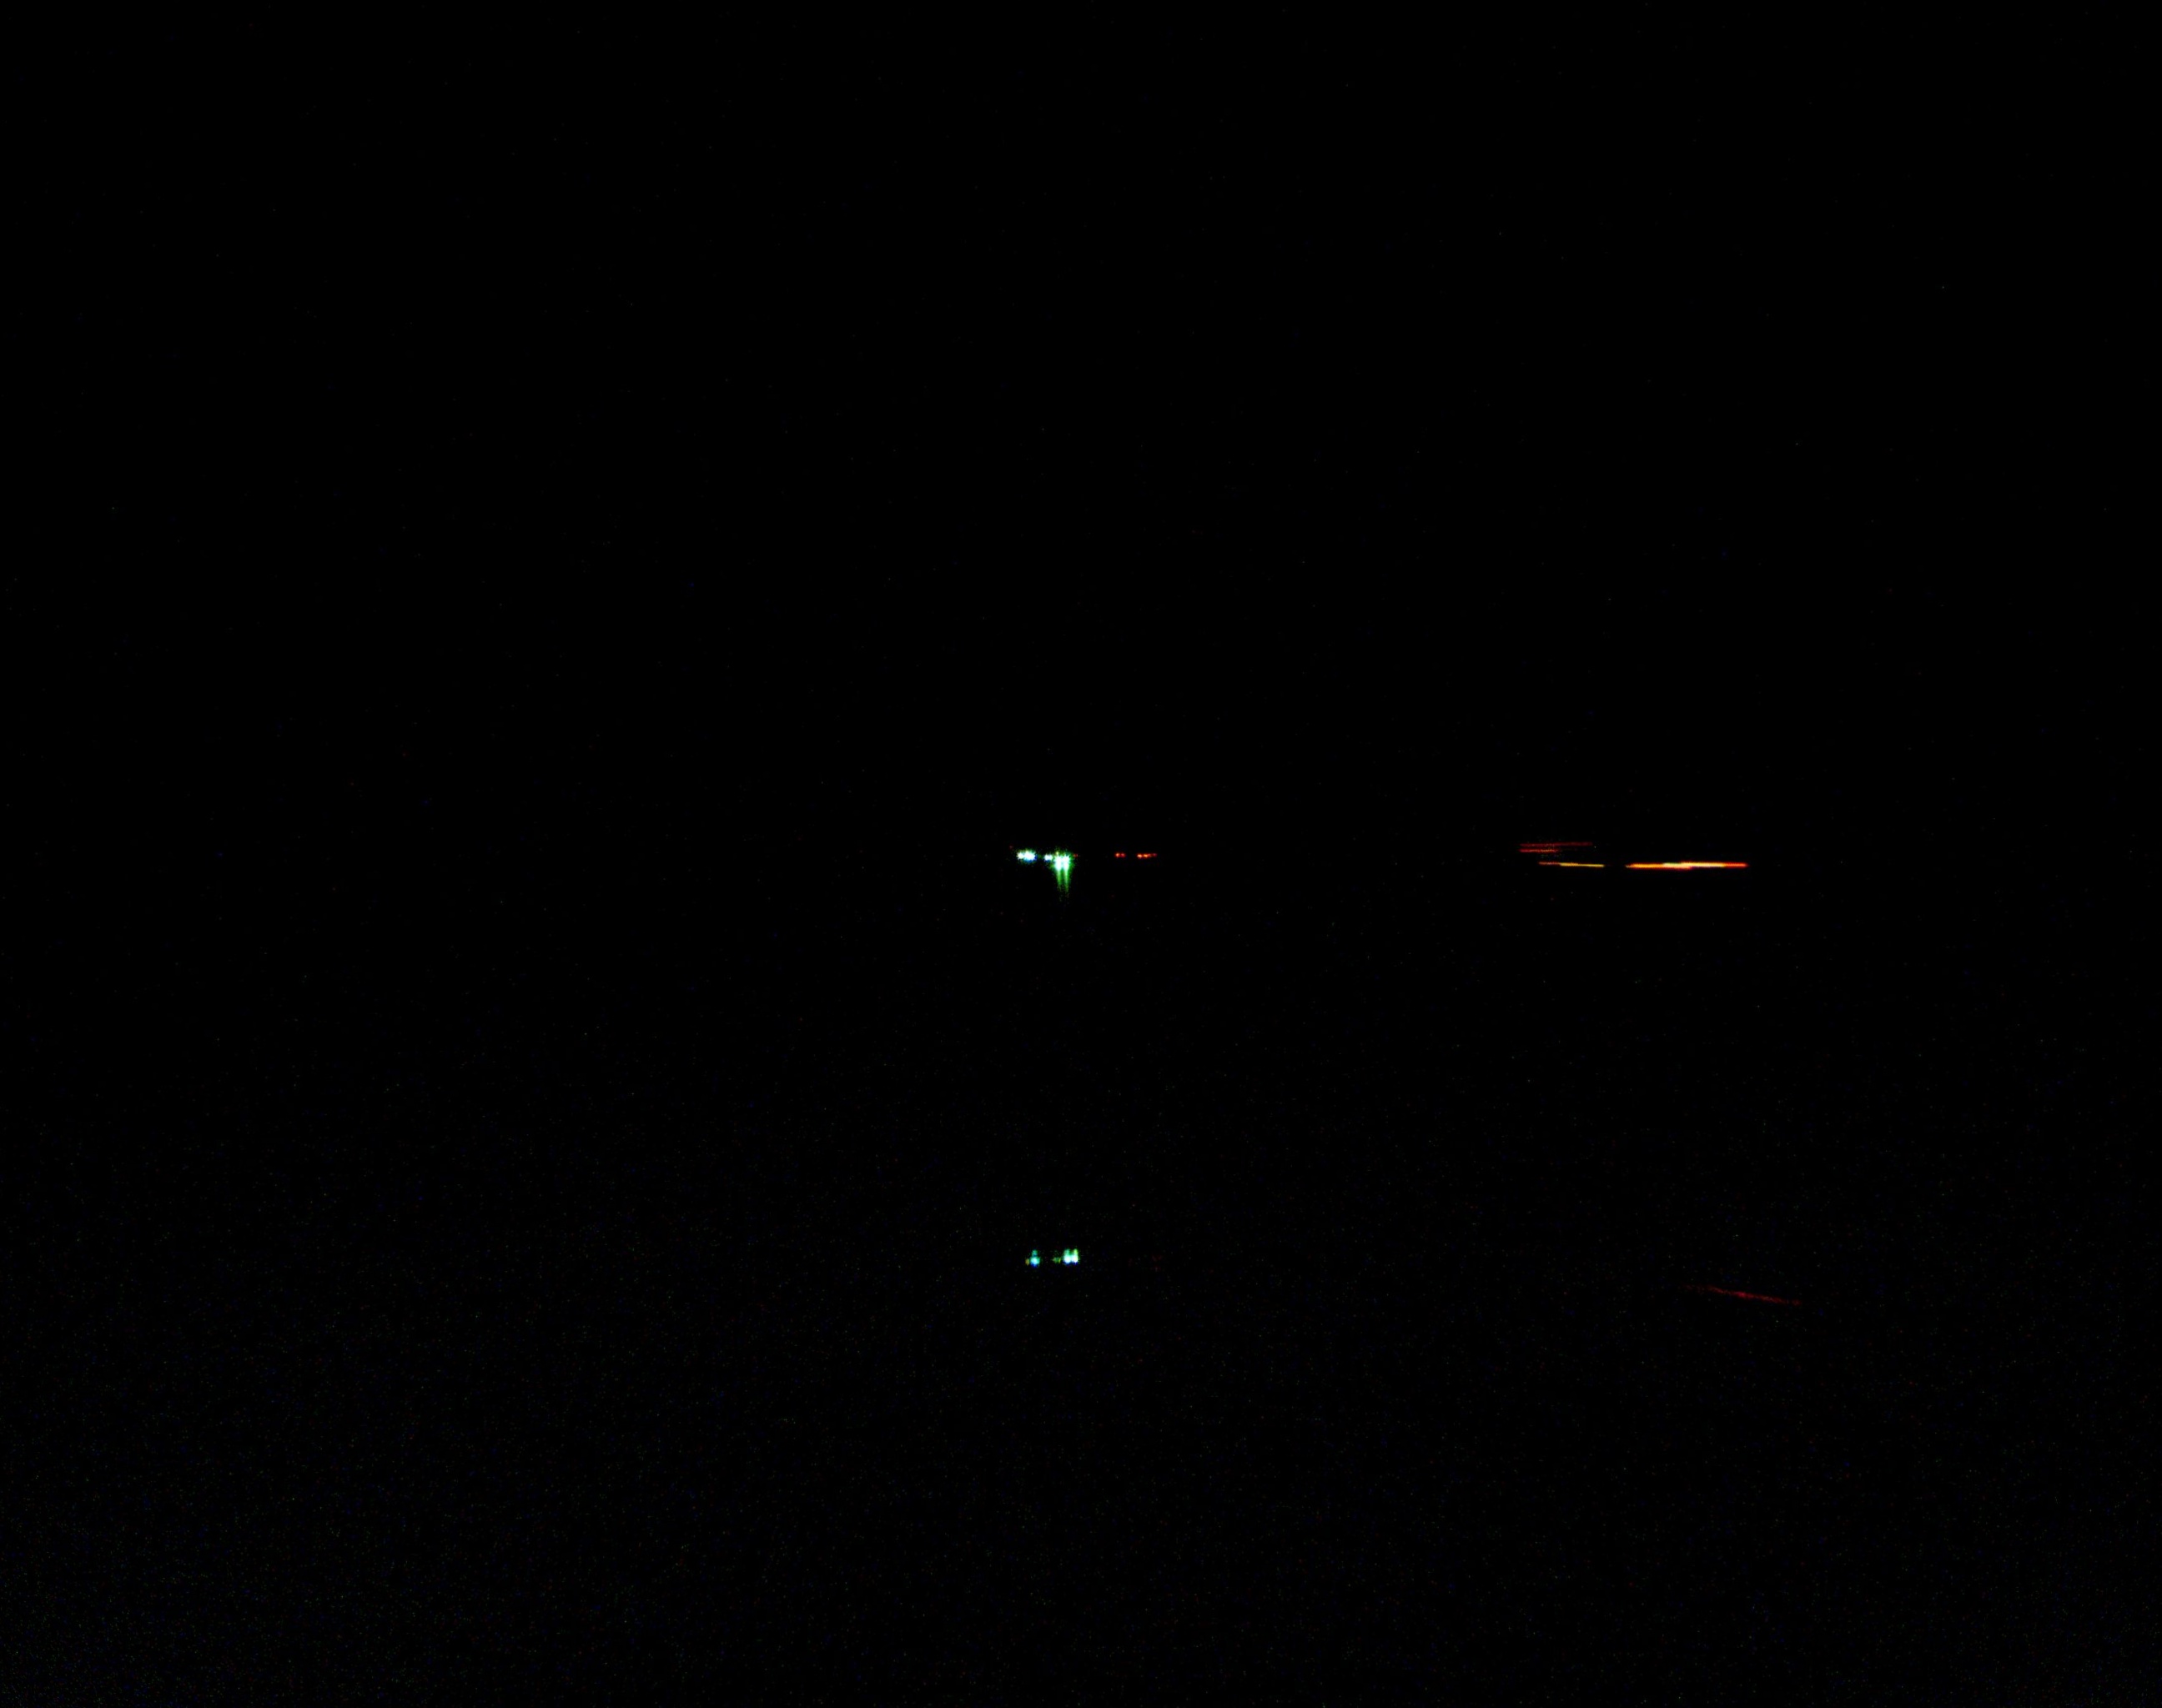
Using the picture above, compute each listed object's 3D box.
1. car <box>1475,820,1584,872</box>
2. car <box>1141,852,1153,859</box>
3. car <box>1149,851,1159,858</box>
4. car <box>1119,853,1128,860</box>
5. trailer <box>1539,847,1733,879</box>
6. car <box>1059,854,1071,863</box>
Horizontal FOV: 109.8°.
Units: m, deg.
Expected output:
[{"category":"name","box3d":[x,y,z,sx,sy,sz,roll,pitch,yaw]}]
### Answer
[{"category":"car","box3d":[23.332,-0.418,39.911,2.087,2.473,6.241,-2,1,0]},{"category":"car","box3d":[14.624,0.236,168.896,1.999,1.471,4.928,-2,1,-3]},{"category":"car","box3d":[17.804,0.048,185.380,1.999,1.499,4.400,-2,1,-1]},{"category":"car","box3d":[11.741,0.576,210.067,1.999,1.780,4.679,-2,1,0]},{"category":"trailer","box3d":[23.373,0.316,32.696,2.421,1.098,8.075,-2,1,0]},{"category":"car","box3d":[-2.916,0.843,138.872,2.154,1.558,4.580,-2,1,-2]}]
